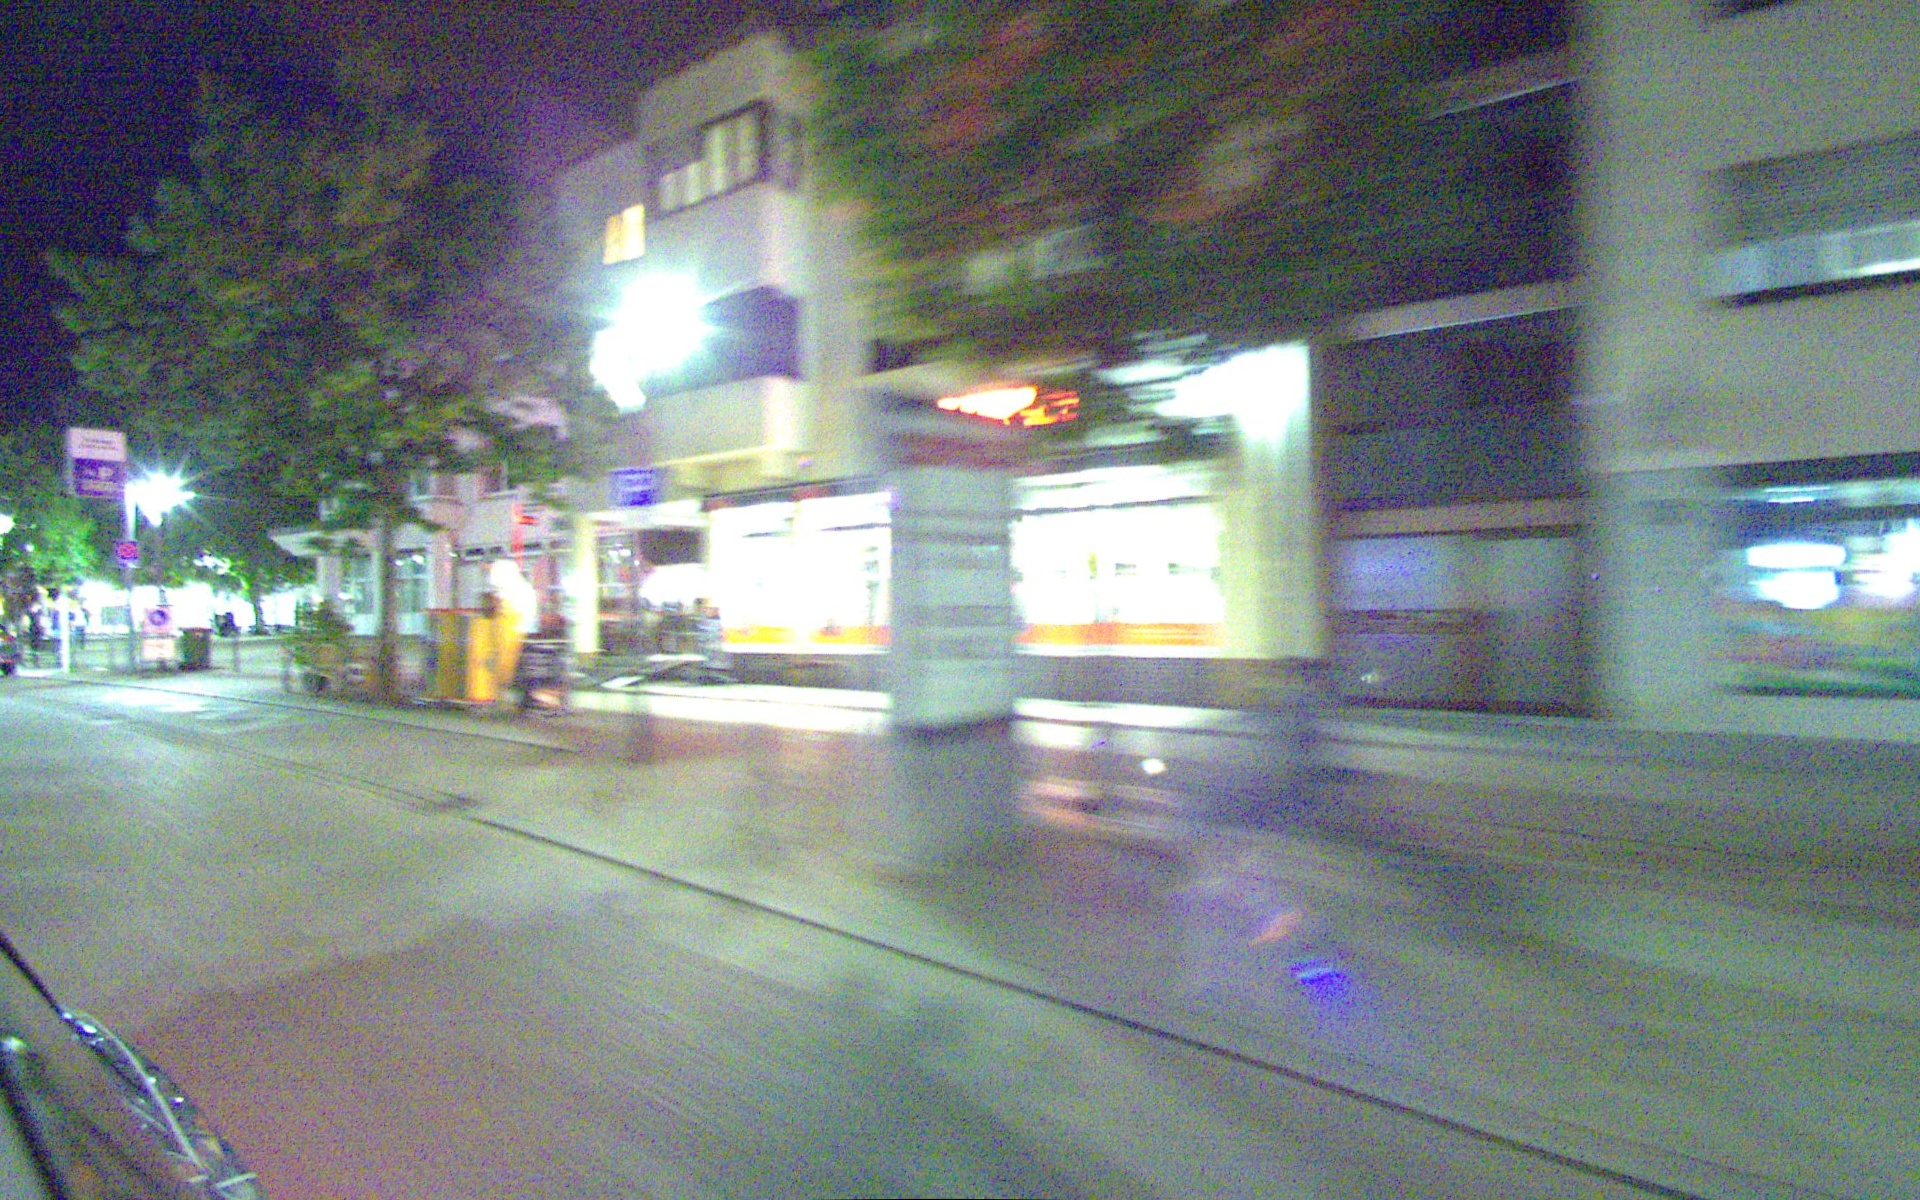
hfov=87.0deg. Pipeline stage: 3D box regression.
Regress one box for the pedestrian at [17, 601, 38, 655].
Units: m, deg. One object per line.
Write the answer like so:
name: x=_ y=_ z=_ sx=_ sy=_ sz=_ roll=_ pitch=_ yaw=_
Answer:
pedestrian: x=-32.100 y=0.961 z=34.843 sx=0.494 sy=1.835 sz=0.504 roll=1 pitch=-1 yaw=-38

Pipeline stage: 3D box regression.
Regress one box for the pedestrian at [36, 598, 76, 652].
pedestrian: x=-31.656 y=0.865 z=35.451 sx=0.866 sy=1.845 sz=0.793 roll=-2 pitch=1 yaw=-33

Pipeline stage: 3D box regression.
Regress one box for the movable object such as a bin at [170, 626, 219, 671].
movable object such as a bin: x=-19.178 y=1.210 z=25.356 sx=0.790 sy=1.073 sz=0.741 roll=0 pitch=-1 yaw=31

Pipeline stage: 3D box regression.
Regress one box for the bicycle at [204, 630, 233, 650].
bicycle: x=-53.402 y=2.852 z=72.842 sx=2.501 sy=1.374 sz=0.767 roll=0 pitch=-1 yaw=30

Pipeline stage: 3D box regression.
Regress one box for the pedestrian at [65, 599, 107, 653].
pedestrian: x=-30.787 y=0.896 z=35.668 sx=0.780 sy=1.831 sz=1.027 roll=-2 pitch=1 yaw=-22

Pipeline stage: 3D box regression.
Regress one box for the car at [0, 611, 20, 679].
car: x=-25.768 y=1.137 z=25.534 sx=4.796 sy=1.650 sz=1.746 roll=-1 pitch=-1 yaw=31
